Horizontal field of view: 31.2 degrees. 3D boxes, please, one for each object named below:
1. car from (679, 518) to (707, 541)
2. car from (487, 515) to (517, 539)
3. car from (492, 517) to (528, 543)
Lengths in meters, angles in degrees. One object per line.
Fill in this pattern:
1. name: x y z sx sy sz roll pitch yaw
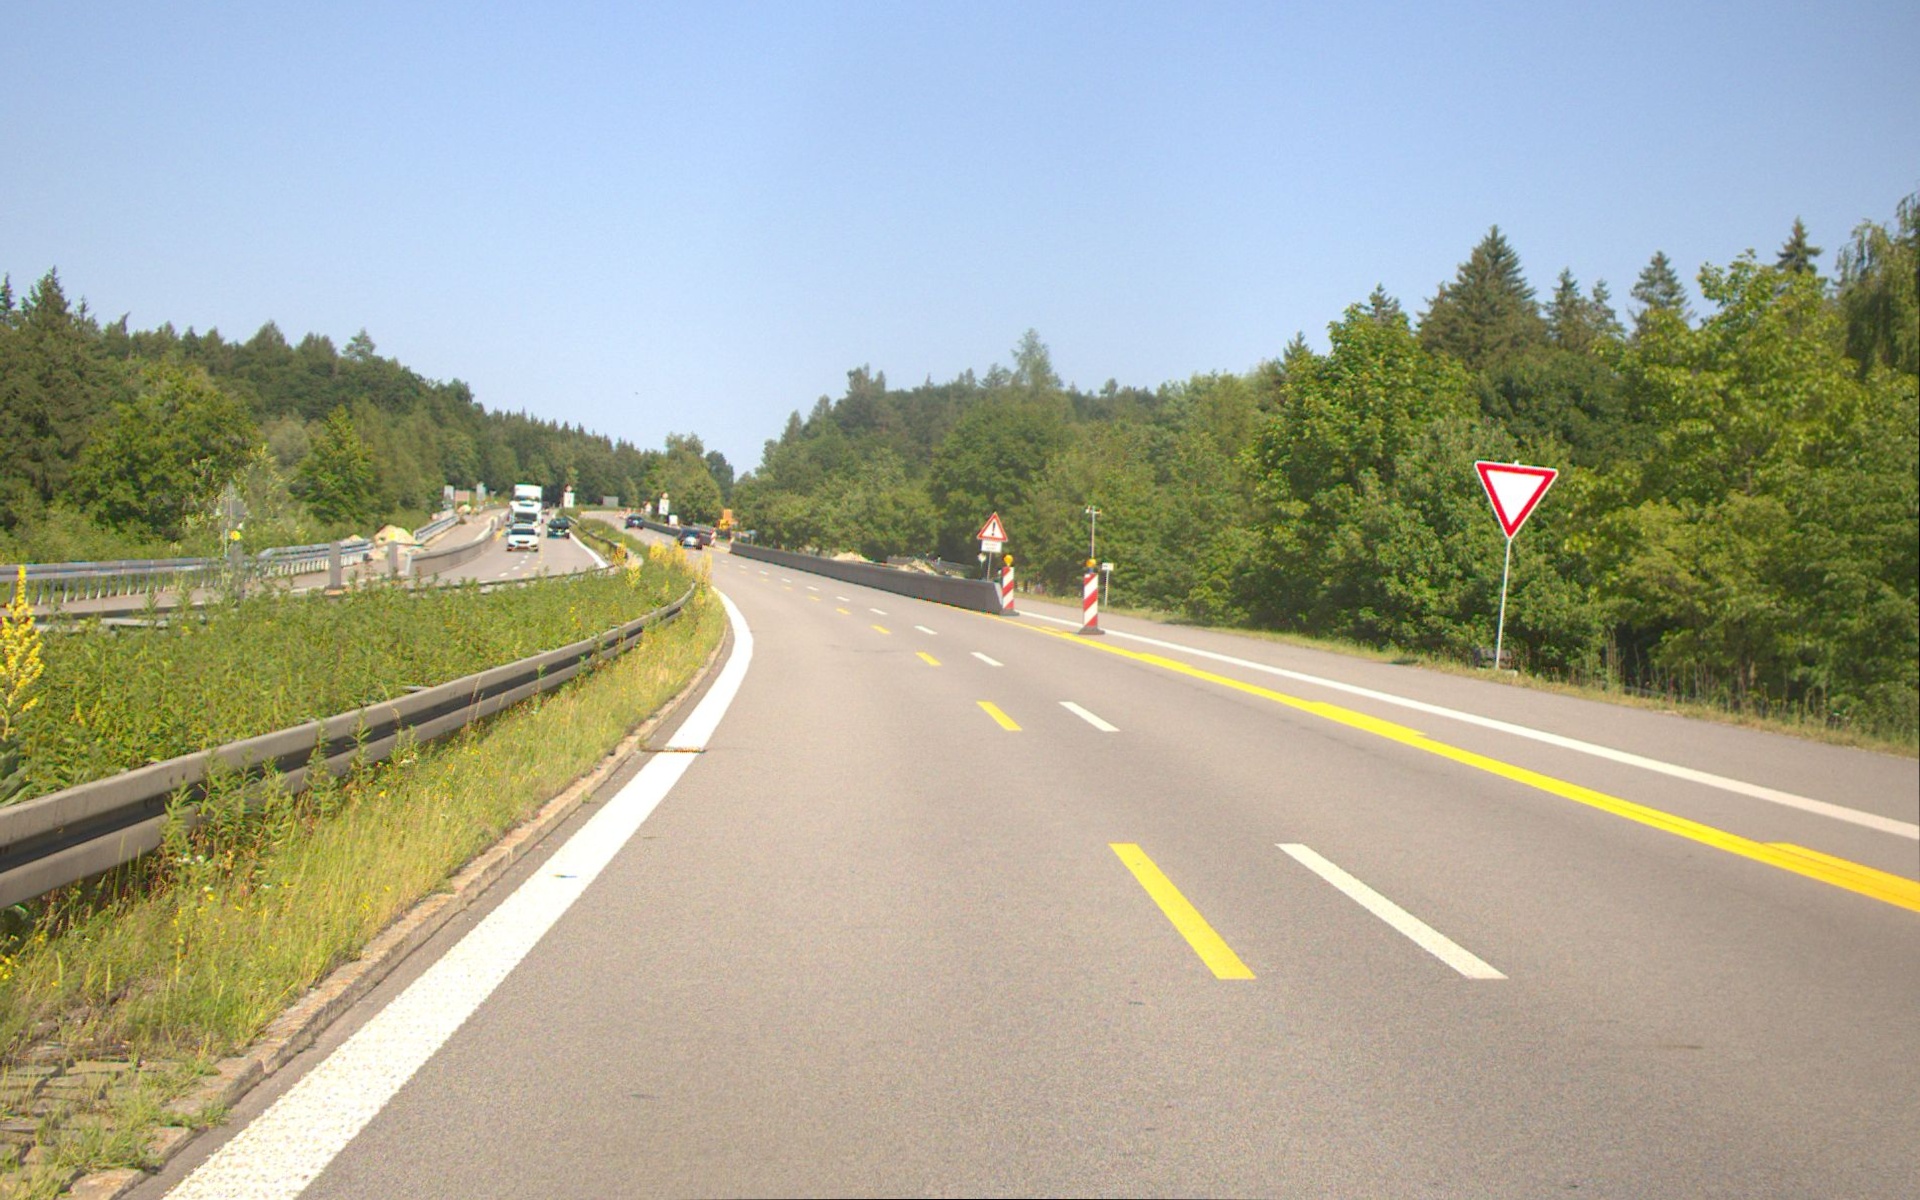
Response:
1. car: -19.233 -5.079 247.202 1.743 1.461 4.295 3 1 -7
2. car: -28.583 -4.584 214.601 1.701 1.427 4.957 0 2 -6
3. car: -25.916 -4.055 197.945 1.882 1.427 4.985 2 1 -6
